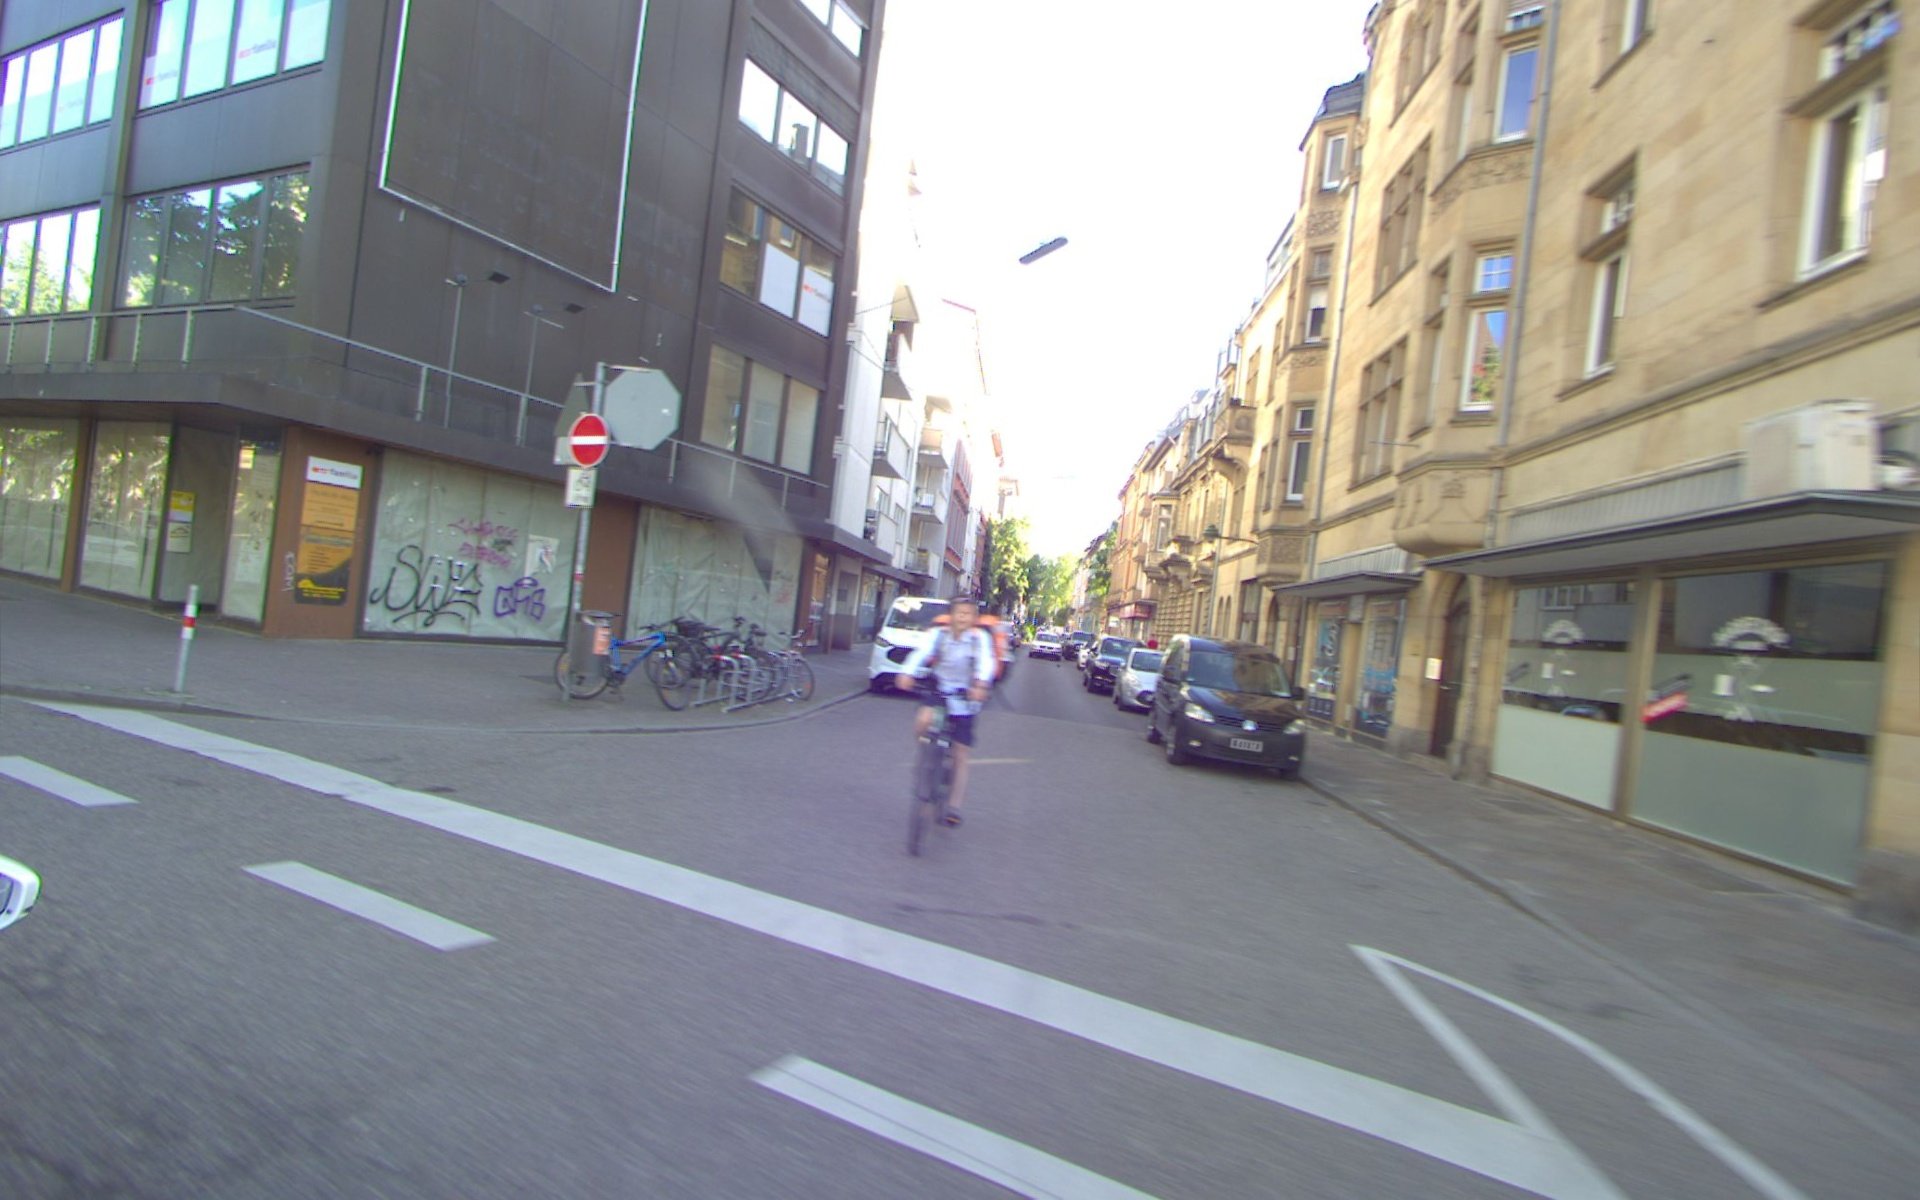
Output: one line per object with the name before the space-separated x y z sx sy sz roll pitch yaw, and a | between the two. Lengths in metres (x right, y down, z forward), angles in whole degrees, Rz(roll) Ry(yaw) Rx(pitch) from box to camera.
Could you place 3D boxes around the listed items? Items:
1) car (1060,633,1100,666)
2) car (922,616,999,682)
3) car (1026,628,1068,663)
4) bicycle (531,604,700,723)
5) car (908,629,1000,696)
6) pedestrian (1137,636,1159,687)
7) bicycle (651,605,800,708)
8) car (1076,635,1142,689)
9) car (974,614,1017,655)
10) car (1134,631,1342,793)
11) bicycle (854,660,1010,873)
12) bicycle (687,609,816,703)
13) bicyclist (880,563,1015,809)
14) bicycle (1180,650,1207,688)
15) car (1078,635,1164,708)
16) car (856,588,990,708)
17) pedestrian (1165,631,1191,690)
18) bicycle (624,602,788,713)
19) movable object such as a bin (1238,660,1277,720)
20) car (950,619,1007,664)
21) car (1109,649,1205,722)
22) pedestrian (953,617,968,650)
car | 6.984 2.885 58.919 1.962 1.569 4.322 7 -2 4
car | 0.096 1.539 31.611 1.962 1.697 4.322 7 -2 4
car | 4.639 2.454 54.165 1.962 1.569 4.322 7 -2 4
bicycle | -4.068 0.752 11.979 1.716 1.175 0.572 8 0 -11
car | -0.082 1.616 26.202 1.942 1.428 3.673 6 -3 5
pedestrian | 7.871 2.560 42.141 0.632 2.038 0.456 7 0 2
bicycle | -3.406 0.819 14.719 1.892 1.145 0.573 10 0 -1
car | 5.562 2.296 37.964 1.962 1.697 4.322 7 -2 4
car | 1.995 1.929 55.410 1.962 1.942 4.322 7 -2 4
car | 3.866 1.498 14.824 1.962 1.792 4.322 7 -2 4
bicycle | -0.122 1.041 6.946 0.656 1.171 1.946 7 -2 7
bicycle | -3.226 0.859 15.641 1.714 1.145 0.573 10 0 3
bicyclist | -0.060 0.582 7.038 0.656 1.543 0.891 7 -1 7
bicycle | 8.496 2.498 36.641 0.556 1.229 1.865 7 -1 4
car | 4.718 2.066 30.020 1.962 1.792 4.458 7 -2 4
car | -0.618 0.990 21.069 2.078 1.951 4.957 7 -2 4
pedestrian | 7.747 2.144 35.782 0.632 2.038 0.456 7 0 2
bicycle | -3.522 0.799 14.036 1.982 1.175 0.573 10 0 -1
movable object such as a bin | 7.684 2.313 25.991 0.671 1.434 0.761 7 0 6
car | 0.809 1.707 41.143 1.962 1.523 4.322 7 -2 4
car | 4.640 1.995 24.161 1.742 1.428 3.673 6 -3 5
pedestrian | 0.041 1.973 59.750 0.632 1.879 0.456 7 0 2
